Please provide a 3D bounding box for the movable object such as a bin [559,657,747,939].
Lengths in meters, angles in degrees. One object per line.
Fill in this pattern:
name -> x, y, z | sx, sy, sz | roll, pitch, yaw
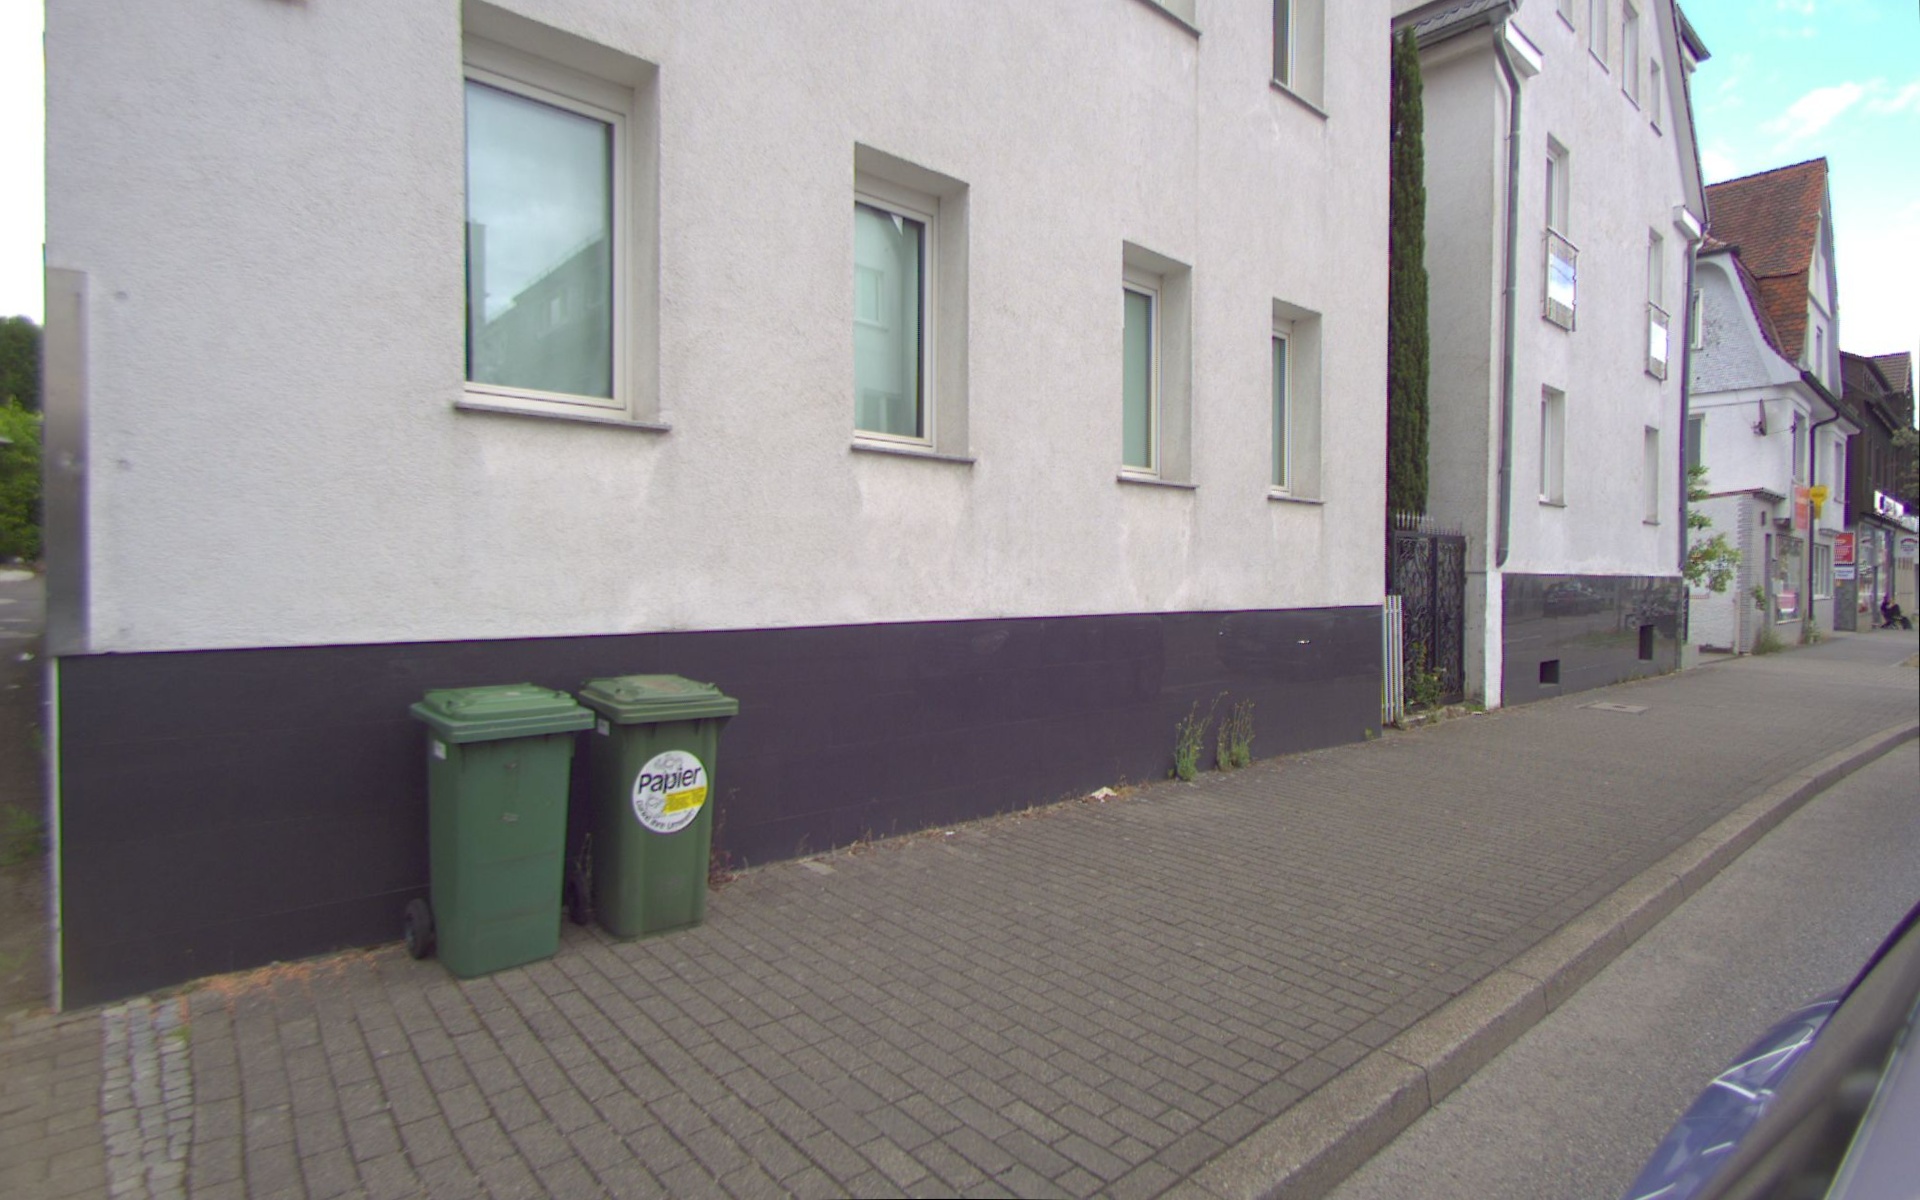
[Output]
movable object such as a bin -> -1.193, 0.714, 3.911 | 0.510, 0.914, 0.565 | -1, 2, -41

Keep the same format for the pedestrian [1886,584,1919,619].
pedestrian -> 35.524, 0.044, 37.956 | 0.653, 1.295, 0.985 | 0, 1, -29

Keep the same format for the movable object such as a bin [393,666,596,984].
movable object such as a bin -> -1.631, 0.728, 3.531 | 0.510, 0.914, 0.565 | -1, 2, -41
